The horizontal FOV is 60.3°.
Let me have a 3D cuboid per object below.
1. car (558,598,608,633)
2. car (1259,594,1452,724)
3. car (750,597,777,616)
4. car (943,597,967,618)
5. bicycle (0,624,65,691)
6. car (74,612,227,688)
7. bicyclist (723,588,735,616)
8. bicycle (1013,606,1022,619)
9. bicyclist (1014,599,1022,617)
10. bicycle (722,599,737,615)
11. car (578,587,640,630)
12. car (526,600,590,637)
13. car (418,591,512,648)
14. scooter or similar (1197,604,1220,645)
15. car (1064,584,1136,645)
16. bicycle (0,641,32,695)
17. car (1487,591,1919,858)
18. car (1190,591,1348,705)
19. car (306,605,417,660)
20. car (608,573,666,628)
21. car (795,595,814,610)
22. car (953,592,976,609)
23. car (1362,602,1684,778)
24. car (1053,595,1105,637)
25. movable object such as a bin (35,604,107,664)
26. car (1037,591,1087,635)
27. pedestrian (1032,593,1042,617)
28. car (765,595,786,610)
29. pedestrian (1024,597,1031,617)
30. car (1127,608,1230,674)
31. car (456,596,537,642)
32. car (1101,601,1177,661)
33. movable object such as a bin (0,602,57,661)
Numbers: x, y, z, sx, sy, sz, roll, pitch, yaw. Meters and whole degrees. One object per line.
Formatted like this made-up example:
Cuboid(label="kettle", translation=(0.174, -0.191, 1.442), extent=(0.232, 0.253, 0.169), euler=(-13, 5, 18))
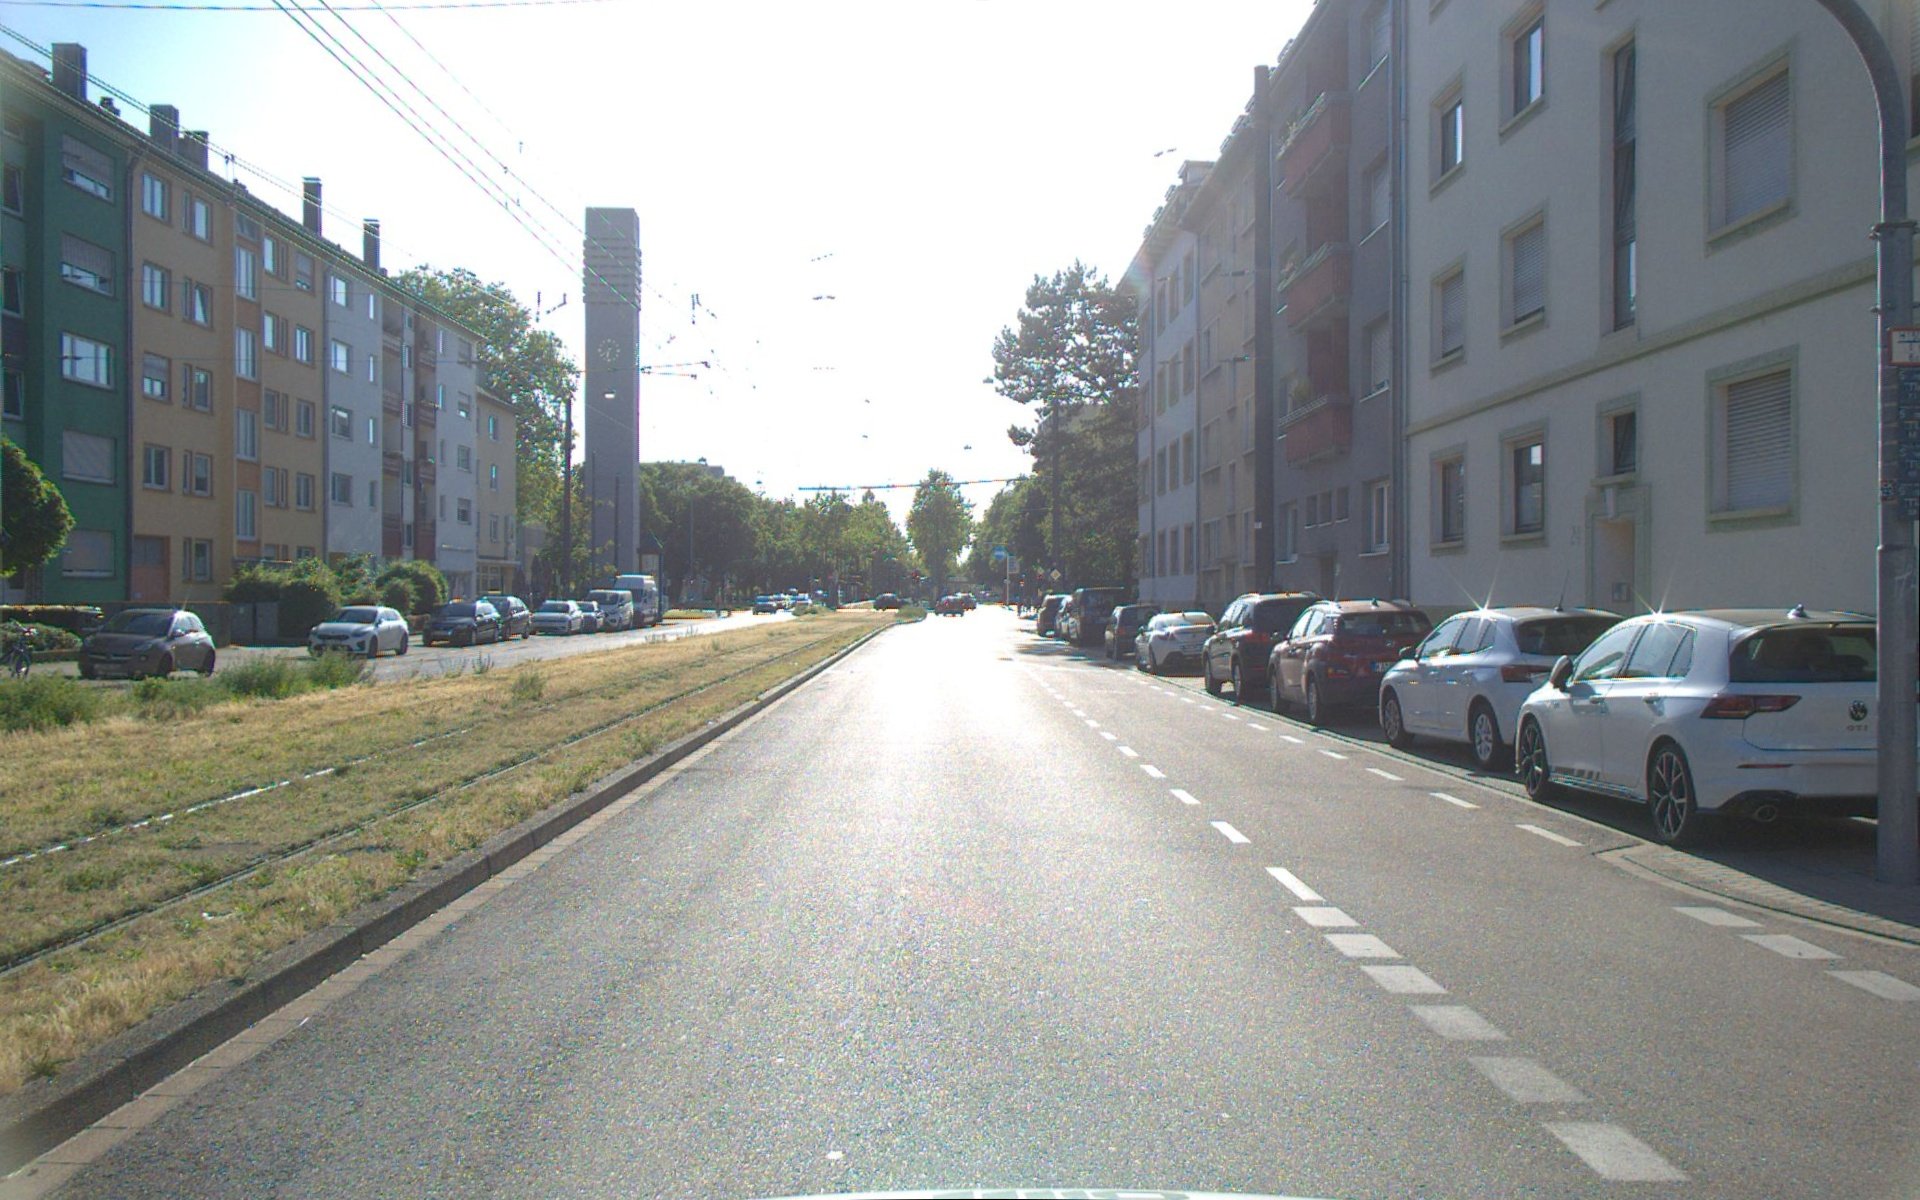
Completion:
Cuboid(label="car", translation=(-18.145, 0.730, 79.770), extent=(1.661, 1.541, 4.324), euler=(1, 0, -3))
Cuboid(label="car", translation=(5.269, 0.728, 22.548), extent=(1.602, 1.544, 4.188), euler=(-1, 1, 0))
Cuboid(label="car", translation=(-16.052, 0.491, 135.361), extent=(1.659, 1.473, 4.217), euler=(-1, 1, 0))
Cuboid(label="car", translation=(-0.418, 0.599, 128.770), extent=(1.660, 1.534, 3.697), euler=(2, 1, -3))
Cuboid(label="bicycle", translation=(-17.053, 1.040, 30.393), extent=(0.500, 1.111, 1.930), euler=(2, 0, -12))
Cuboid(label="car", translation=(-17.528, 1.045, 36.005), extent=(1.603, 1.467, 3.732), euler=(2, 0, -3))
Cuboid(label="bicyclist", translation=(-17.249, 0.123, 123.581), extent=(0.757, 2.048, 0.648), euler=(2, 0, -1))
Cuboid(label="bicycle", translation=(4.439, 0.972, 127.364), extent=(0.634, 0.989, 1.804), euler=(2, 0, 2))
Cuboid(label="bicyclist", translation=(4.464, 0.631, 127.382), extent=(0.624, 1.346, 0.803), euler=(2, 0, 2))
Cuboid(label="bicycle", translation=(-17.226, 0.531, 123.806), extent=(0.752, 1.166, 2.474), euler=(-2, 0, 0))
Cuboid(label="car", translation=(-18.102, 0.409, 85.543), extent=(1.991, 2.056, 5.370), euler=(2, 0, 0))
Cuboid(label="car", translation=(-17.940, 0.806, 73.972), extent=(1.854, 1.517, 4.701), euler=(2, 1, -3))
Cuboid(label="car", translation=(-17.659, 0.661, 59.245), extent=(1.953, 1.870, 4.609), euler=(2, 0, -1))
Cuboid(label="scooter or similar", translation=(7.942, 0.785, 52.850), extent=(0.449, 1.260, 1.338), euler=(-4, 0, 0))
Cuboid(label="car", translation=(4.825, 0.469, 57.560), extent=(1.874, 1.932, 5.134), euler=(-3, 0, -1))
Cuboid(label="bicycle", translation=(-17.493, 1.242, 30.161), extent=(0.369, 0.881, 2.048), euler=(2, 0, -12))
Cuboid(label="car", translation=(5.275, 0.706, 11.723), extent=(1.659, 1.484, 4.379), euler=(-1, 1, 0))
Cuboid(label="car", translation=(5.123, 0.738, 27.999), extent=(1.603, 1.676, 4.371), euler=(-2, 1, -3))
Cuboid(label="car", translation=(-17.608, 0.924, 48.835), extent=(1.693, 1.480, 4.375), euler=(1, 0, -1))
Cuboid(label="car", translation=(-18.115, -0.007, 93.018), extent=(1.990, 2.919, 6.228), euler=(1, 0, 0))
Cuboid(label="car", translation=(-16.723, 0.253, 177.755), extent=(1.653, 1.560, 4.360), euler=(0, 0, -1))
Cuboid(label="car", translation=(0.443, 0.005, 168.701), extent=(1.854, 1.639, 4.503), euler=(2, 0, 6))
Cuboid(label="car", translation=(5.524, 0.799, 16.774), extent=(1.603, 1.484, 4.078), euler=(-1, 1, -5))
Cuboid(label="car", translation=(4.777, 0.620, 66.920), extent=(1.562, 1.606, 3.893), euler=(-2, 0, -3))
Cuboid(label="movable object such as a bin", translation=(-21.756, 0.823, 40.480), extent=(1.123, 1.391, 1.039), euler=(2, 0, 2))
Cuboid(label="car", translation=(4.437, 0.540, 72.852), extent=(1.840, 1.746, 4.934), euler=(-3, 0, 0))
Cuboid(label="pedestrian", translation=(6.060, 0.395, 130.968), extent=(0.688, 1.821, 0.694), euler=(-2, 1, 5))
Cuboid(label="car", translation=(-19.751, 0.265, 176.772), extent=(1.770, 1.560, 4.360), euler=(0, 0, -1))
Cuboid(label="pedestrian", translation=(5.328, 0.541, 131.066), extent=(0.518, 1.555, 0.628), euler=(-2, 0, 5))
Cuboid(label="car", translation=(5.014, 0.908, 38.455), extent=(1.668, 1.297, 4.302), euler=(-4, 1, -2))
Cuboid(label="car", translation=(-18.092, 0.718, 64.735), extent=(1.953, 1.635, 4.150), euler=(2, 0, -1))
Cuboid(label="car", translation=(4.953, 0.830, 46.151), extent=(1.602, 1.479, 3.789), euler=(-3, 1, -1))
Cuboid(label="movable object such as a bin", translation=(-23.023, 0.766, 40.551), extent=(1.123, 1.391, 1.039), euler=(2, 0, 2))
